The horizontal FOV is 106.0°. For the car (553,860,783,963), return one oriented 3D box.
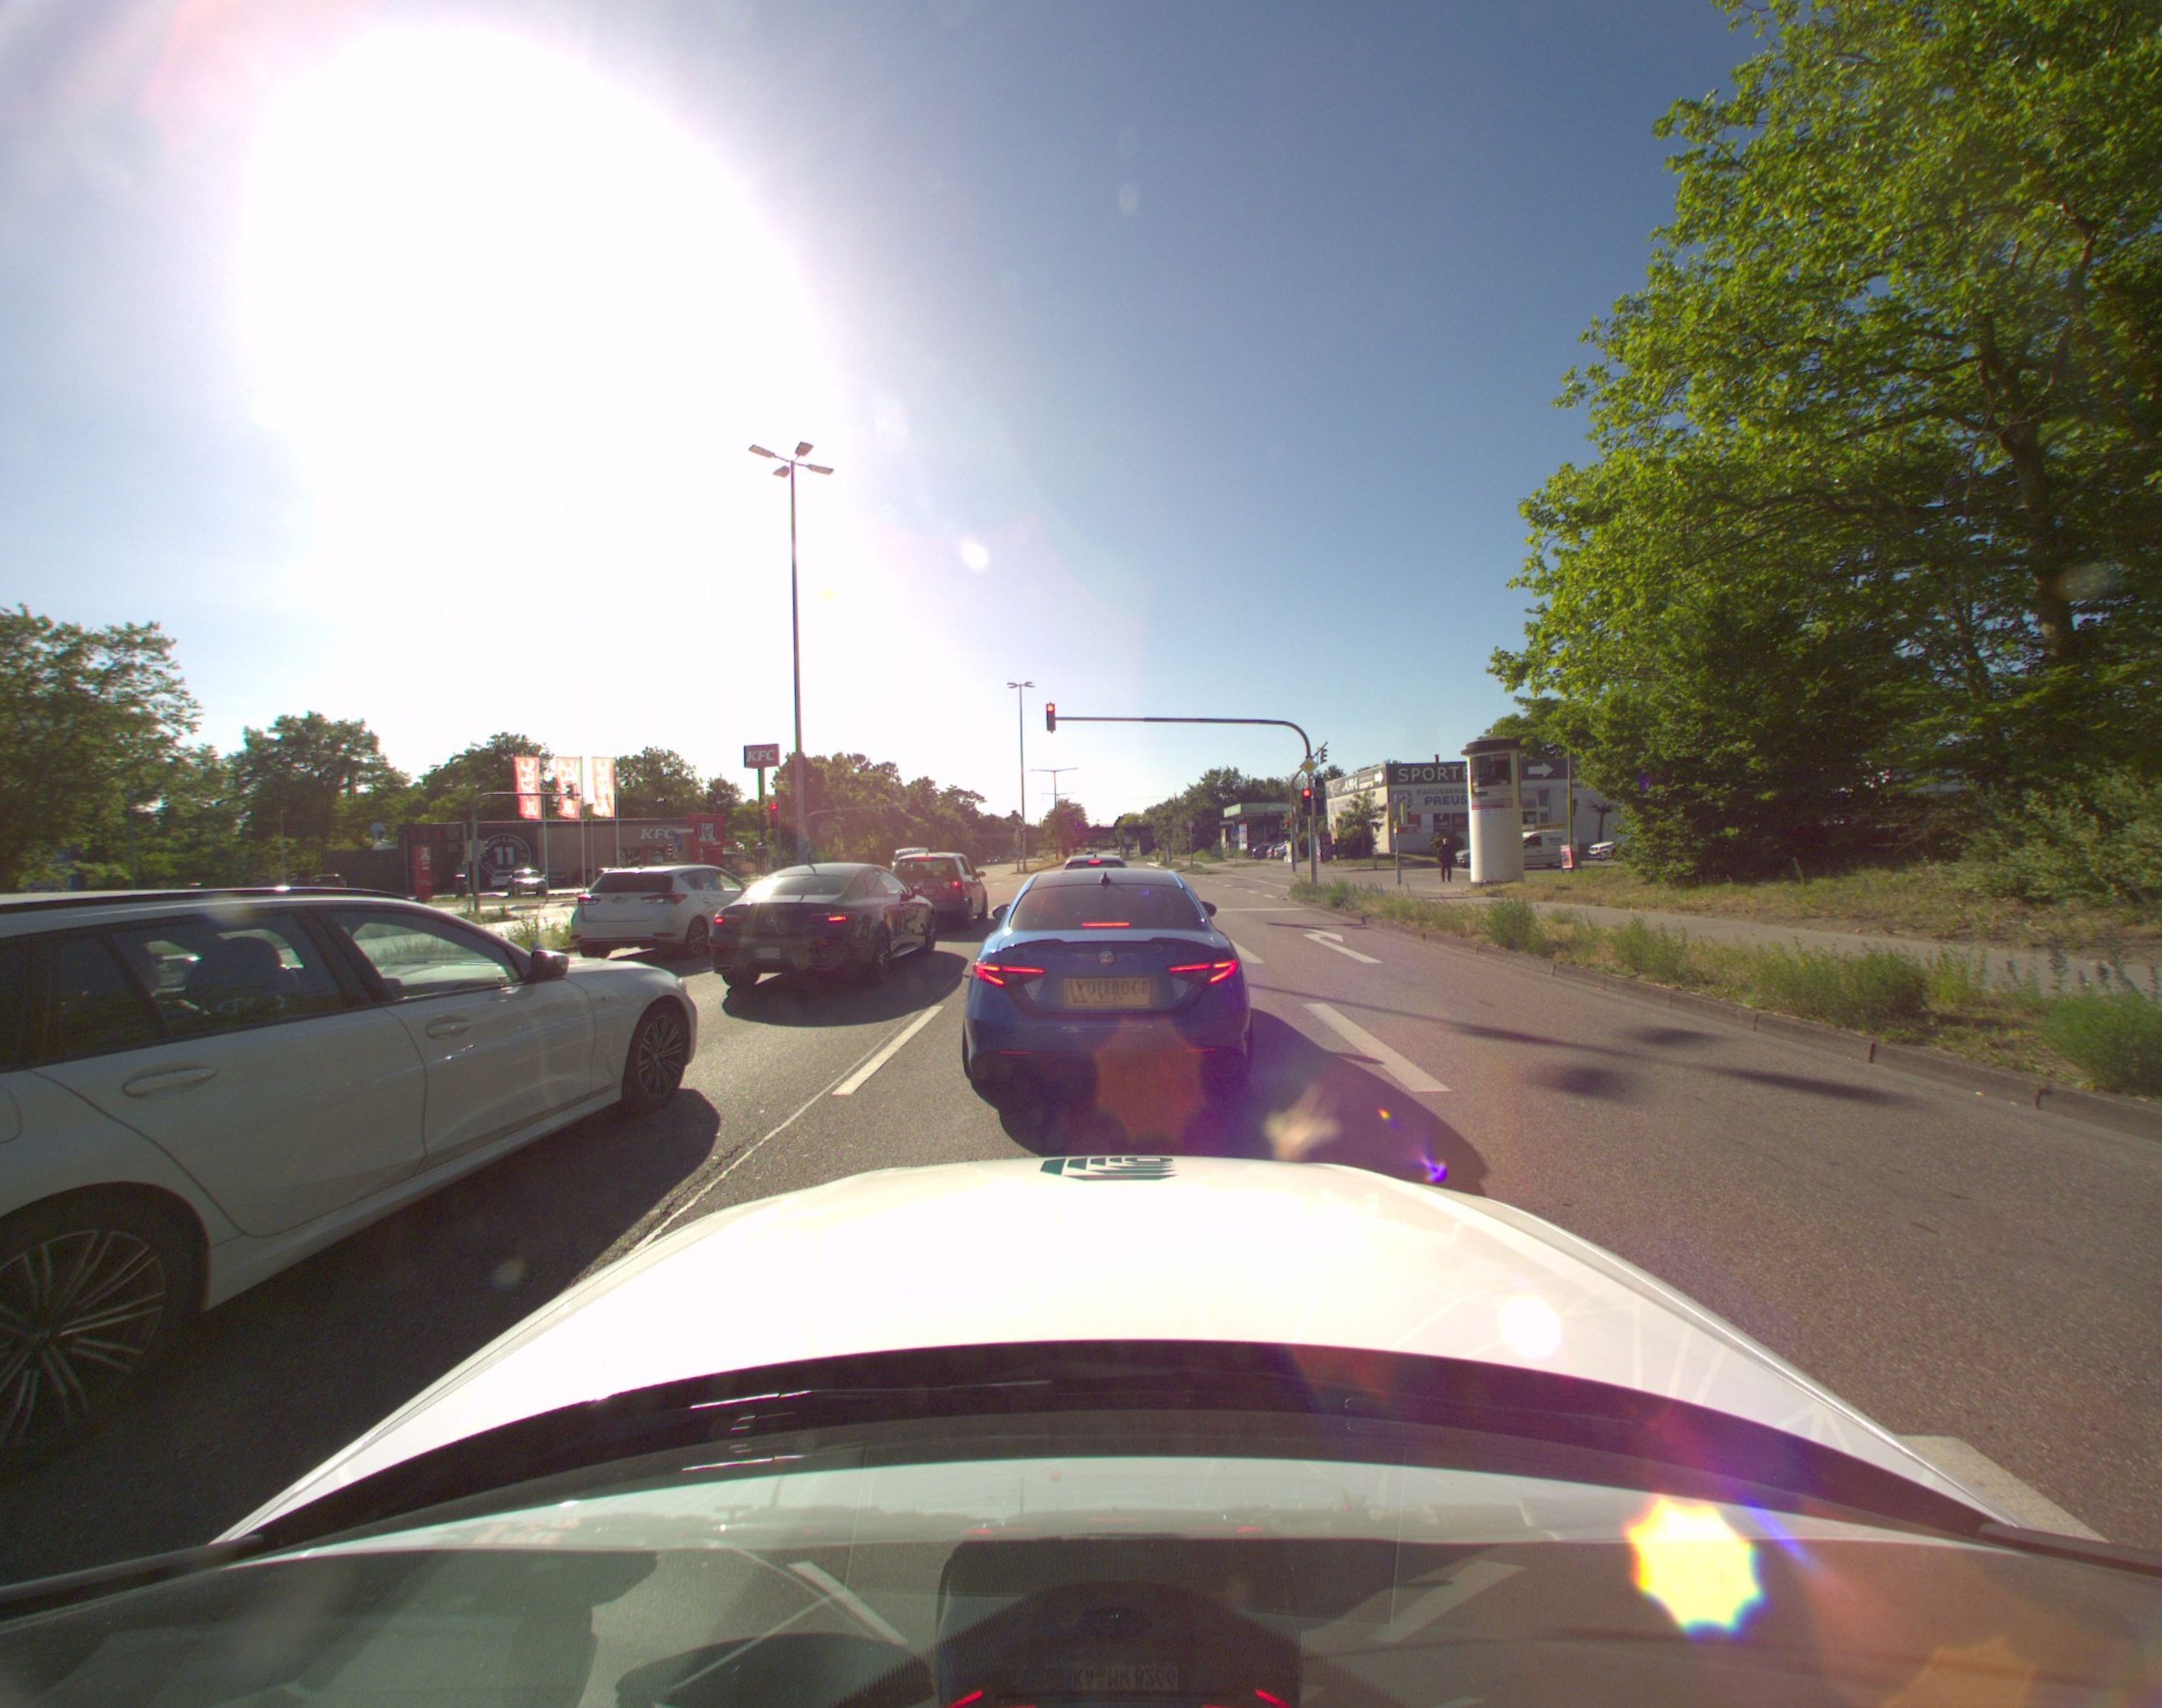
[{"bbox_3d":[-6.778,0.858,13.956,1.753,1.490,4.197,0,-1,1],"label":"car"}]

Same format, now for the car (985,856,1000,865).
[{"bbox_3d":[-15.299,1.094,140.687,1.752,1.490,4.480,-3,0,2],"label":"car"}]

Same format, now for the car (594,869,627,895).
[{"bbox_3d":[-33.670,1.939,58.348,1.920,1.752,4.315,0,-1,-29],"label":"car"}]

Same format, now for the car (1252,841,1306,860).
[{"bbox_3d":[17.942,-0.341,73.914,4.470,1.454,1.860,-4,0,3],"label":"car"}]

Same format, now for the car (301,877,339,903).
[{"bbox_3d":[-52.375,2.468,56.102,1.670,1.673,3.897,0,-1,-40],"label":"car"}]

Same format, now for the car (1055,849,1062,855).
[{"bbox_3d":[-6.159,-0.562,224.012,1.752,1.490,3.839,-3,0,2],"label":"car"}]

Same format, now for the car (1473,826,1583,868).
[{"bbox_3d":[21.557,-0.351,39.372,4.367,1.801,1.765,-3,1,0],"label":"car"}]

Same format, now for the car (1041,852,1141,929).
[{"bbox_3d":[0.215,0.699,17.365,1.844,1.418,4.403,0,-1,1],"label":"car"}]

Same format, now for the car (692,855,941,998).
[{"bbox_3d":[-3.172,0.784,10.818,1.790,1.490,4.476,0,-1,1],"label":"car"}]

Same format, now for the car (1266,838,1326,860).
[{"bbox_3d":[17.706,-0.398,67.111,4.470,1.454,1.860,-4,0,3],"label":"car"}]

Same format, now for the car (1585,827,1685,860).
[{"bbox_3d":[29.075,-0.530,42.826,4.028,1.490,1.782,-3,0,-1],"label":"car"}]

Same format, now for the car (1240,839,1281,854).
[{"bbox_3d":[21.385,-0.865,97.023,4.532,1.490,1.766,-4,0,3],"label":"car"}]

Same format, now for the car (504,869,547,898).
[{"bbox_3d":[-37.339,1.944,54.868,2.005,1.765,4.315,0,-1,-29],"label":"car"}]

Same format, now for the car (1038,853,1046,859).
[{"bbox_3d":[-9.856,0.539,205.630,1.752,1.490,4.480,-3,0,2],"label":"car"}]

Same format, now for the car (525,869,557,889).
[{"bbox_3d":[-43.149,1.962,65.067,1.670,1.471,3.872,0,-1,-40],"label":"car"}]

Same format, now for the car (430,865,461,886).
[{"bbox_3d":[-47.641,1.569,60.997,1.670,1.471,3.872,0,-1,-40],"label":"car"}]

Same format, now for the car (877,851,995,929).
[{"bbox_3d":[-3.027,0.720,17.920,1.753,1.490,4.403,0,-1,1],"label":"car"}]

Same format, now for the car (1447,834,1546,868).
[{"bbox_3d":[21.764,-0.187,42.721,4.273,1.549,1.765,-3,1,0],"label":"car"}]

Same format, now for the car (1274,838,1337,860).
[{"bbox_3d":[17.700,-0.412,64.330,4.470,1.454,1.860,-4,0,3],"label":"car"}]

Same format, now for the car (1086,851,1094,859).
[{"bbox_3d":[2.196,0.213,194.845,1.884,1.816,4.001,0,-1,2],"label":"car"}]

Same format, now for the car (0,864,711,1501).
[{"bbox_3d":[-3.429,0.803,3.313,1.779,1.490,4.403,0,-1,1],"label":"car"}]

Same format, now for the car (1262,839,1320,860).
[{"bbox_3d":[17.983,-0.369,69.860,4.470,1.454,1.860,-4,0,3],"label":"car"}]

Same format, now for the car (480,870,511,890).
[{"bbox_3d":[-45.641,2.030,63.414,1.670,1.471,3.872,0,-1,-40],"label":"car"}]

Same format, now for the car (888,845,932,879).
[{"bbox_3d":[-13.758,0.633,65.871,2.015,2.447,5.823,-5,0,1],"label":"car"}]

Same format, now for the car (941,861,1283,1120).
[{"bbox_3d":[0.205,0.777,6.722,1.889,1.418,4.403,0,-1,1],"label":"car"}]

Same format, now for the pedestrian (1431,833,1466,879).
[{"bbox_3d":[14.278,0.078,31.651,0.922,1.735,0.939,0,-1,1],"label":"pedestrian"}]
